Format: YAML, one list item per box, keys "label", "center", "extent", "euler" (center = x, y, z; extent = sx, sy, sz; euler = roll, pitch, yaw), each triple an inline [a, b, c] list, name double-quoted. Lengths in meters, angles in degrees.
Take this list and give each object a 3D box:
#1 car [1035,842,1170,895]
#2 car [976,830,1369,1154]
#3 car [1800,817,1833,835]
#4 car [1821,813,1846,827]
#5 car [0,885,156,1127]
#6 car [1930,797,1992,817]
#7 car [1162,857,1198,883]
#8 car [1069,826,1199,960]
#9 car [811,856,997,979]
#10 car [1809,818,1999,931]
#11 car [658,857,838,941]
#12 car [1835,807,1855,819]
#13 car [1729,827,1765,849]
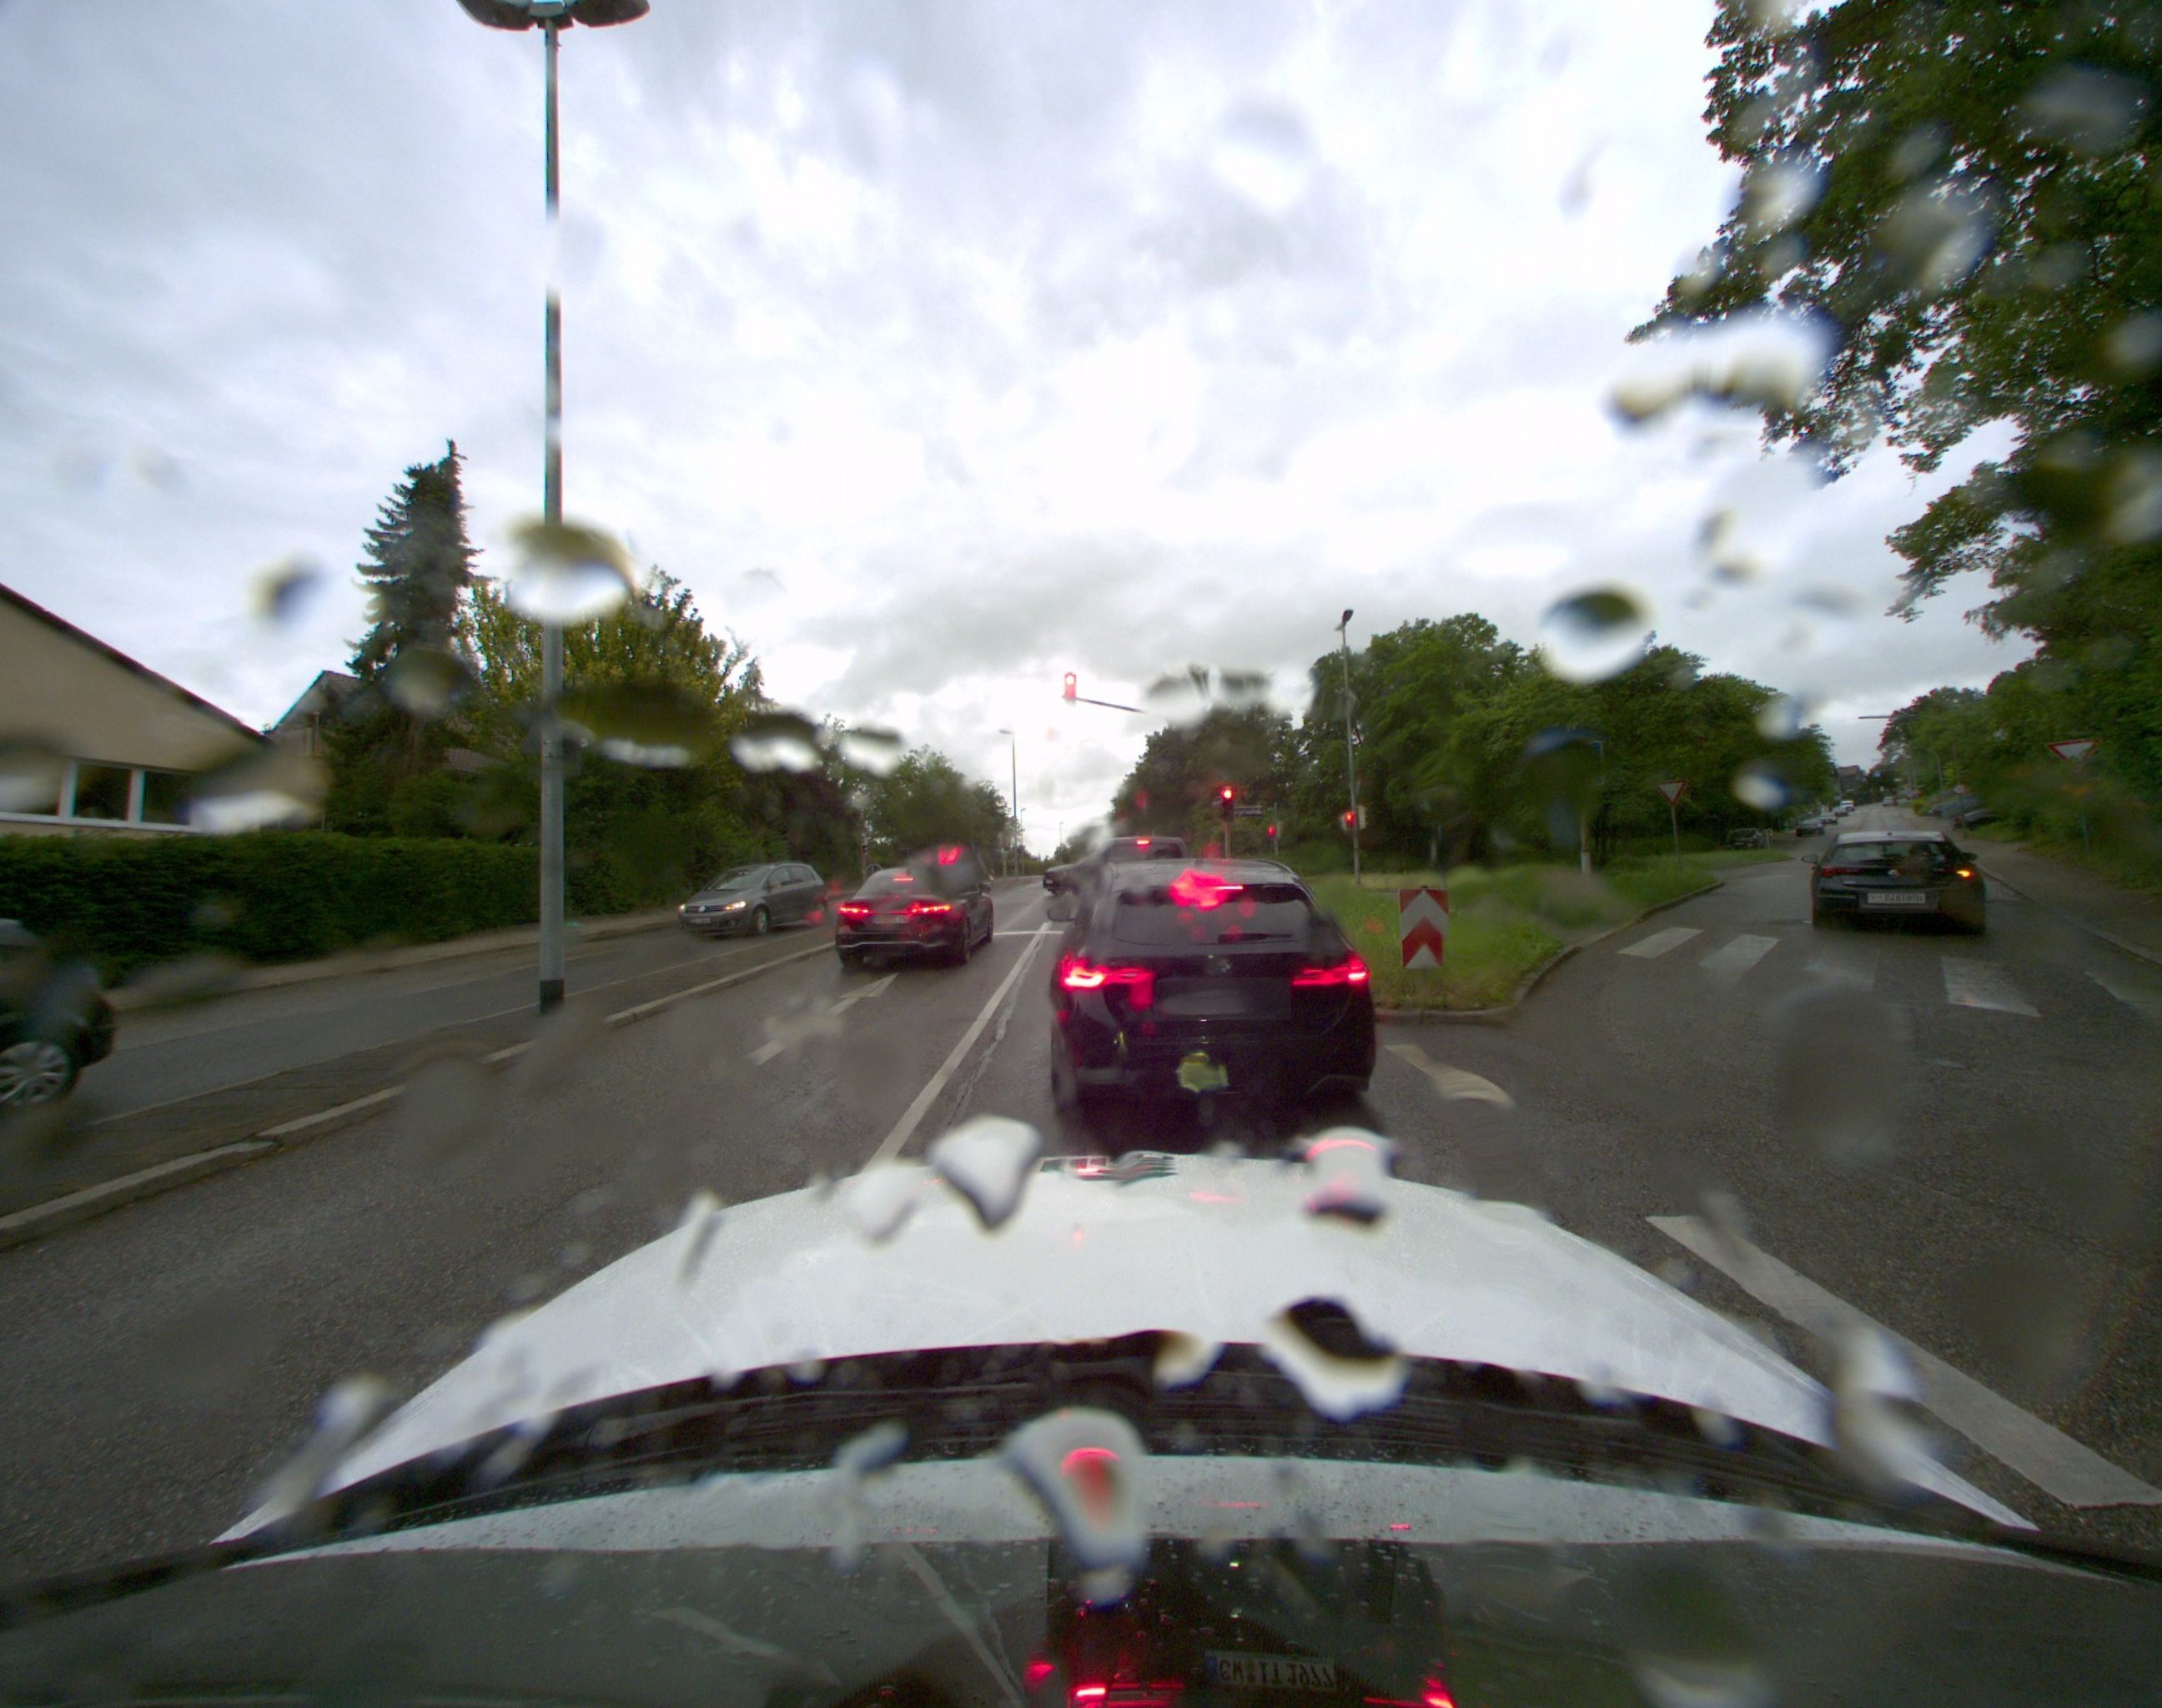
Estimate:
- label: "car"
  center: [0.831, 0.543, 31.221]
  extent: [4.721, 1.717, 1.985]
  euler: [-3, 0, -22]
- label: "car"
  center: [0.645, 0.717, 6.279]
  extent: [1.889, 1.551, 4.621]
  euler: [-1, -1, 5]
- label: "car"
  center: [66.284, -2.486, 73.400]
  extent: [4.318, 1.450, 1.881]
  euler: [0, -1, -44]
- label: "car"
  center: [88.219, -3.996, 95.528]
  extent: [1.971, 1.446, 4.321]
  euler: [-2, -1, 40]
- label: "car"
  center: [-7.862, 1.025, 4.036]
  extent: [1.889, 1.509, 4.000]
  euler: [-3, 0, 0]
- label: "car"
  center: [87.626, -4.645, 81.172]
  extent: [3.949, 1.574, 1.785]
  euler: [-5, -2, 42]
- label: "car"
  center: [6.335, 1.018, 52.428]
  extent: [1.866, 1.543, 3.954]
  euler: [-4, -1, 2]
- label: "car"
  center: [0.831, 0.570, 13.472]
  extent: [1.811, 1.868, 3.954]
  euler: [-1, -1, 2]
- label: "car"
  center: [-2.612, 0.883, 13.163]
  extent: [1.987, 1.527, 4.326]
  euler: [-4, -1, 0]
- label: "car"
  center: [12.806, 0.244, 12.873]
  extent: [1.795, 1.443, 4.188]
  euler: [-4, 0, 43]
- label: "car"
  center: [-7.488, 0.942, 18.791]
  extent: [1.730, 1.602, 4.046]
  euler: [-3, 0, 13]
- label: "car"
  center: [114.516, -6.140, 122.050]
  extent: [1.880, 1.397, 4.193]
  euler: [-2, -1, 40]
- label: "car"
  center: [46.028, -1.112, 56.285]
  extent: [1.655, 1.370, 3.511]
  euler: [-3, 0, 43]
